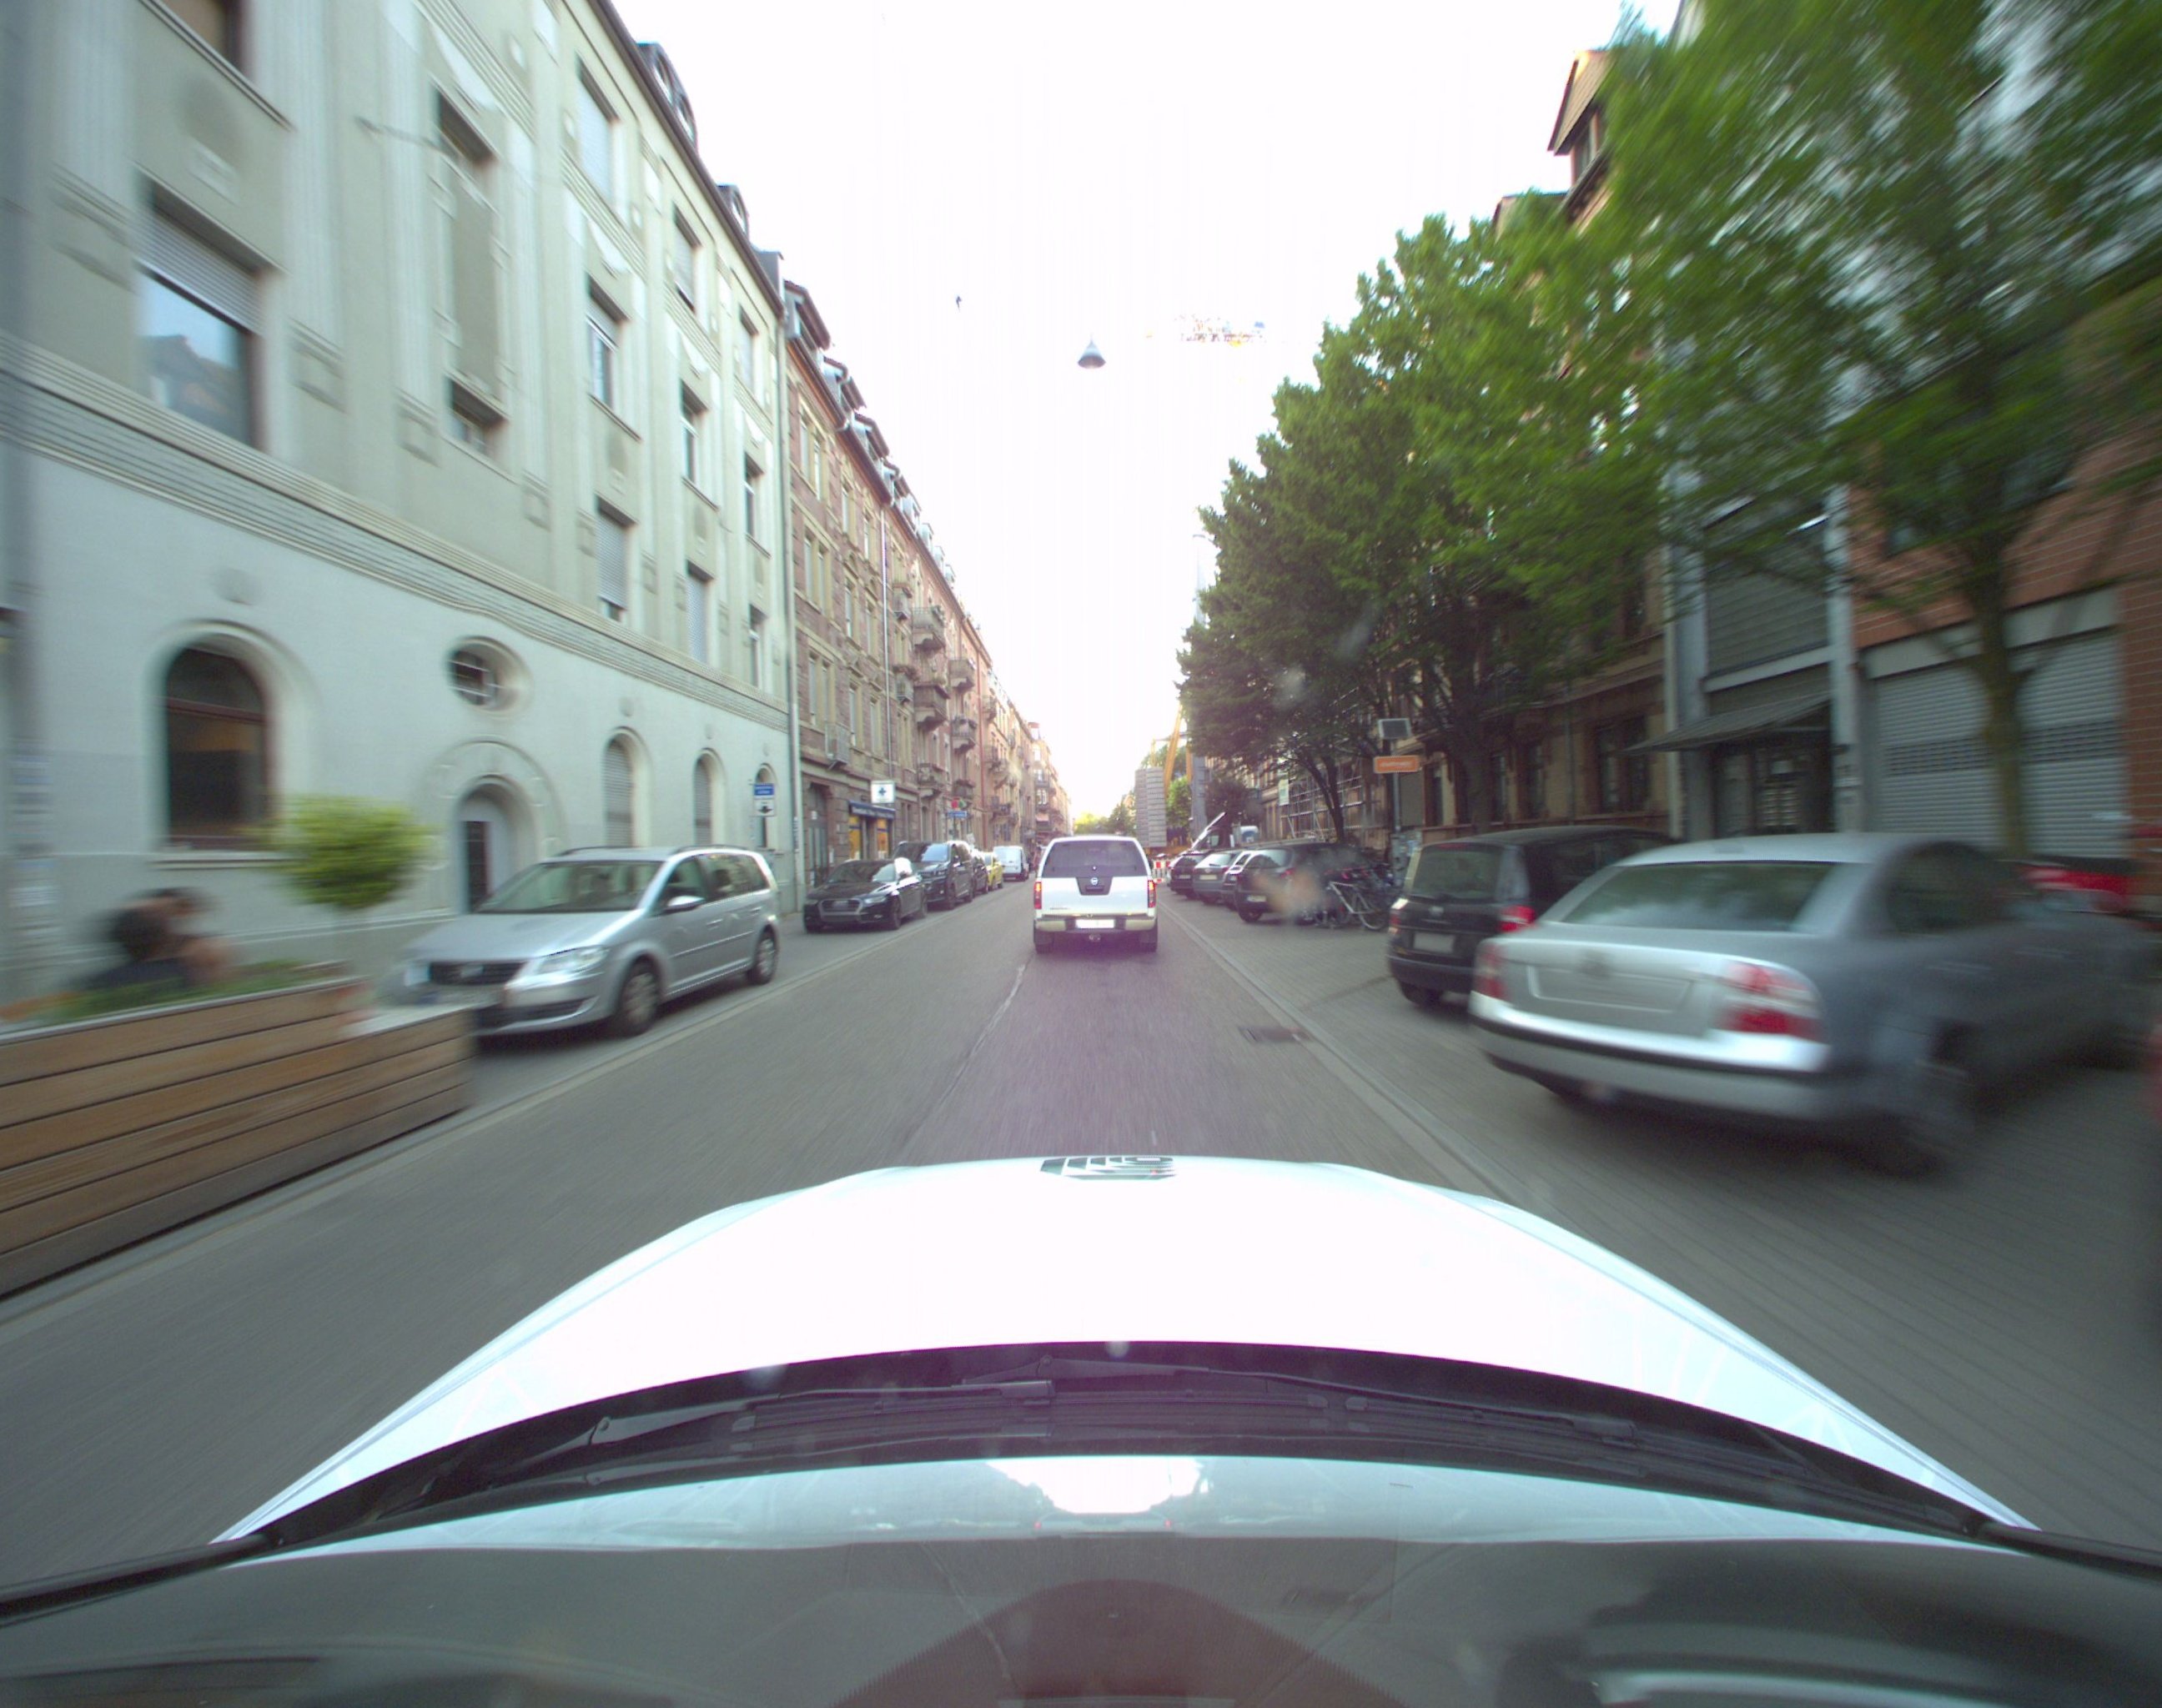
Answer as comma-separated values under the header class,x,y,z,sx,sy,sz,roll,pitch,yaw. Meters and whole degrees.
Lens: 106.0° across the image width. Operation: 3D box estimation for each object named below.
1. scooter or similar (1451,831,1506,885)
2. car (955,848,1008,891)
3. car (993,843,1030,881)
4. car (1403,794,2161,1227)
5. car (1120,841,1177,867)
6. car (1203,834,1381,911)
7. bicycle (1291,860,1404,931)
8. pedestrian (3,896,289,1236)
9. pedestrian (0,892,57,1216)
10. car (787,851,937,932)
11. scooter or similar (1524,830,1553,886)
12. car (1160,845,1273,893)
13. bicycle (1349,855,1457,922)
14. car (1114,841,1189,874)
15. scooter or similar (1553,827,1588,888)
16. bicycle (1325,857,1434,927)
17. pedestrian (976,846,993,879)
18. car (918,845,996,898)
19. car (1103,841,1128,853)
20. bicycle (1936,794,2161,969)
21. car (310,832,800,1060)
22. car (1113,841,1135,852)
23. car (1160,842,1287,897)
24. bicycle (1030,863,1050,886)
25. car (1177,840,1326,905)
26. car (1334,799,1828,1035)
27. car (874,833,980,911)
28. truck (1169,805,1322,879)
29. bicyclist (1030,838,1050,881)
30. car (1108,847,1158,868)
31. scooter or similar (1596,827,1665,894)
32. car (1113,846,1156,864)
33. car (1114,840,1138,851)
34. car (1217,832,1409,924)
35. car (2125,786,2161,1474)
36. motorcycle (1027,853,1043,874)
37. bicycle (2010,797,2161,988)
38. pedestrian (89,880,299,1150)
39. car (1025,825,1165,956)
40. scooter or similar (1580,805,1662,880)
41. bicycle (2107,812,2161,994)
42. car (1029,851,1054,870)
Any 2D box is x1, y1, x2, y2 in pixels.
class,x,y,z,sx,sy,sz,roll,pitch,yaw
scooter or similar,10.039,0.092,20.608,0.510,1.242,1.351,-11,0,0
car,-3.990,0.568,33.194,1.493,1.593,3.859,-2,0,2
car,-3.610,0.388,42.580,1.554,1.921,3.856,0,0,1
car,4.189,0.508,4.742,4.396,1.534,1.792,-3,0,-26
car,5.031,0.001,61.008,4.177,1.780,1.821,-1,0,3
car,5.078,0.401,19.604,3.844,1.530,1.748,-4,0,-25
bicycle,4.499,0.685,13.891,0.696,1.107,1.841,-1,-1,-28
pedestrian,-4.170,0.888,3.684,0.482,1.350,0.669,-2,0,0
pedestrian,-4.776,0.849,3.291,0.467,1.350,0.611,-2,0,0
car,-4.517,0.705,17.547,1.905,1.472,4.534,-1,0,1
scooter or similar,10.553,0.073,18.822,0.365,1.218,1.630,-5,-1,25
car,4.628,0.471,27.727,3.571,1.464,1.596,-2,0,-30
bicycle,5.673,0.603,14.465,0.561,1.107,1.841,-1,-1,-28
car,4.101,0.173,46.942,4.173,1.780,1.823,-1,0,6
scooter or similar,10.508,0.050,17.497,0.365,1.218,1.714,-5,-1,25
bicycle,5.152,0.648,14.161,0.561,1.107,1.841,-1,-1,-28
pedestrian,-5.559,0.463,46.871,0.611,1.869,0.744,-1,0,24
car,-4.283,0.557,28.817,1.897,1.663,4.070,-2,0,2
car,6.589,-1.387,154.936,4.568,2.177,1.821,-1,0,3
bicycle,8.861,0.197,6.873,2.524,1.379,0.600,-2,0,3
car,-4.589,0.660,8.119,1.987,1.591,4.314,-2,0,0
car,9.022,-1.662,172.174,4.568,2.177,1.821,-1,0,3
car,4.389,0.428,24.874,3.913,1.530,1.619,-2,0,-39
bicycle,-1.782,0.886,35.887,0.798,0.947,2.004,-1,0,-1
car,4.679,0.462,22.169,3.853,1.436,1.744,-4,1,-34
car,4.607,0.435,7.590,3.999,1.636,1.747,-3,1,-19
car,-4.196,0.443,23.051,1.898,1.925,4.949,-1,0,2
truck,7.115,-0.487,35.864,6.295,2.977,2.265,-1,-3,2
bicyclist,-1.791,0.241,35.950,0.798,1.849,0.943,-1,0,-1
car,4.409,0.274,69.531,4.177,1.622,1.821,-1,0,3
scooter or similar,10.894,0.108,16.202,0.409,1.218,1.781,-6,-1,13
car,5.337,0.093,80.810,4.177,1.622,1.821,-1,0,3
car,8.753,-1.663,158.445,4.568,2.177,1.821,-1,0,3
car,4.635,0.416,16.201,3.418,1.474,1.757,-4,2,-30
car,4.324,0.534,1.974,3.614,1.534,1.549,-3,0,-27
motorcycle,-3.257,0.651,57.655,0.833,1.416,2.550,-1,0,2
bicycle,8.730,0.240,6.185,2.524,1.379,0.600,-2,0,3
pedestrian,-4.810,0.831,4.451,0.515,1.350,0.540,-2,0,-2
car,0.276,0.493,13.586,1.926,1.794,4.624,-1,0,2
scooter or similar,9.735,-0.206,14.745,0.464,1.217,1.781,-9,-2,12
bicycle,8.758,0.203,5.548,2.524,1.244,0.600,-7,0,3
car,-3.442,0.562,71.573,1.785,1.530,4.001,-1,0,1
